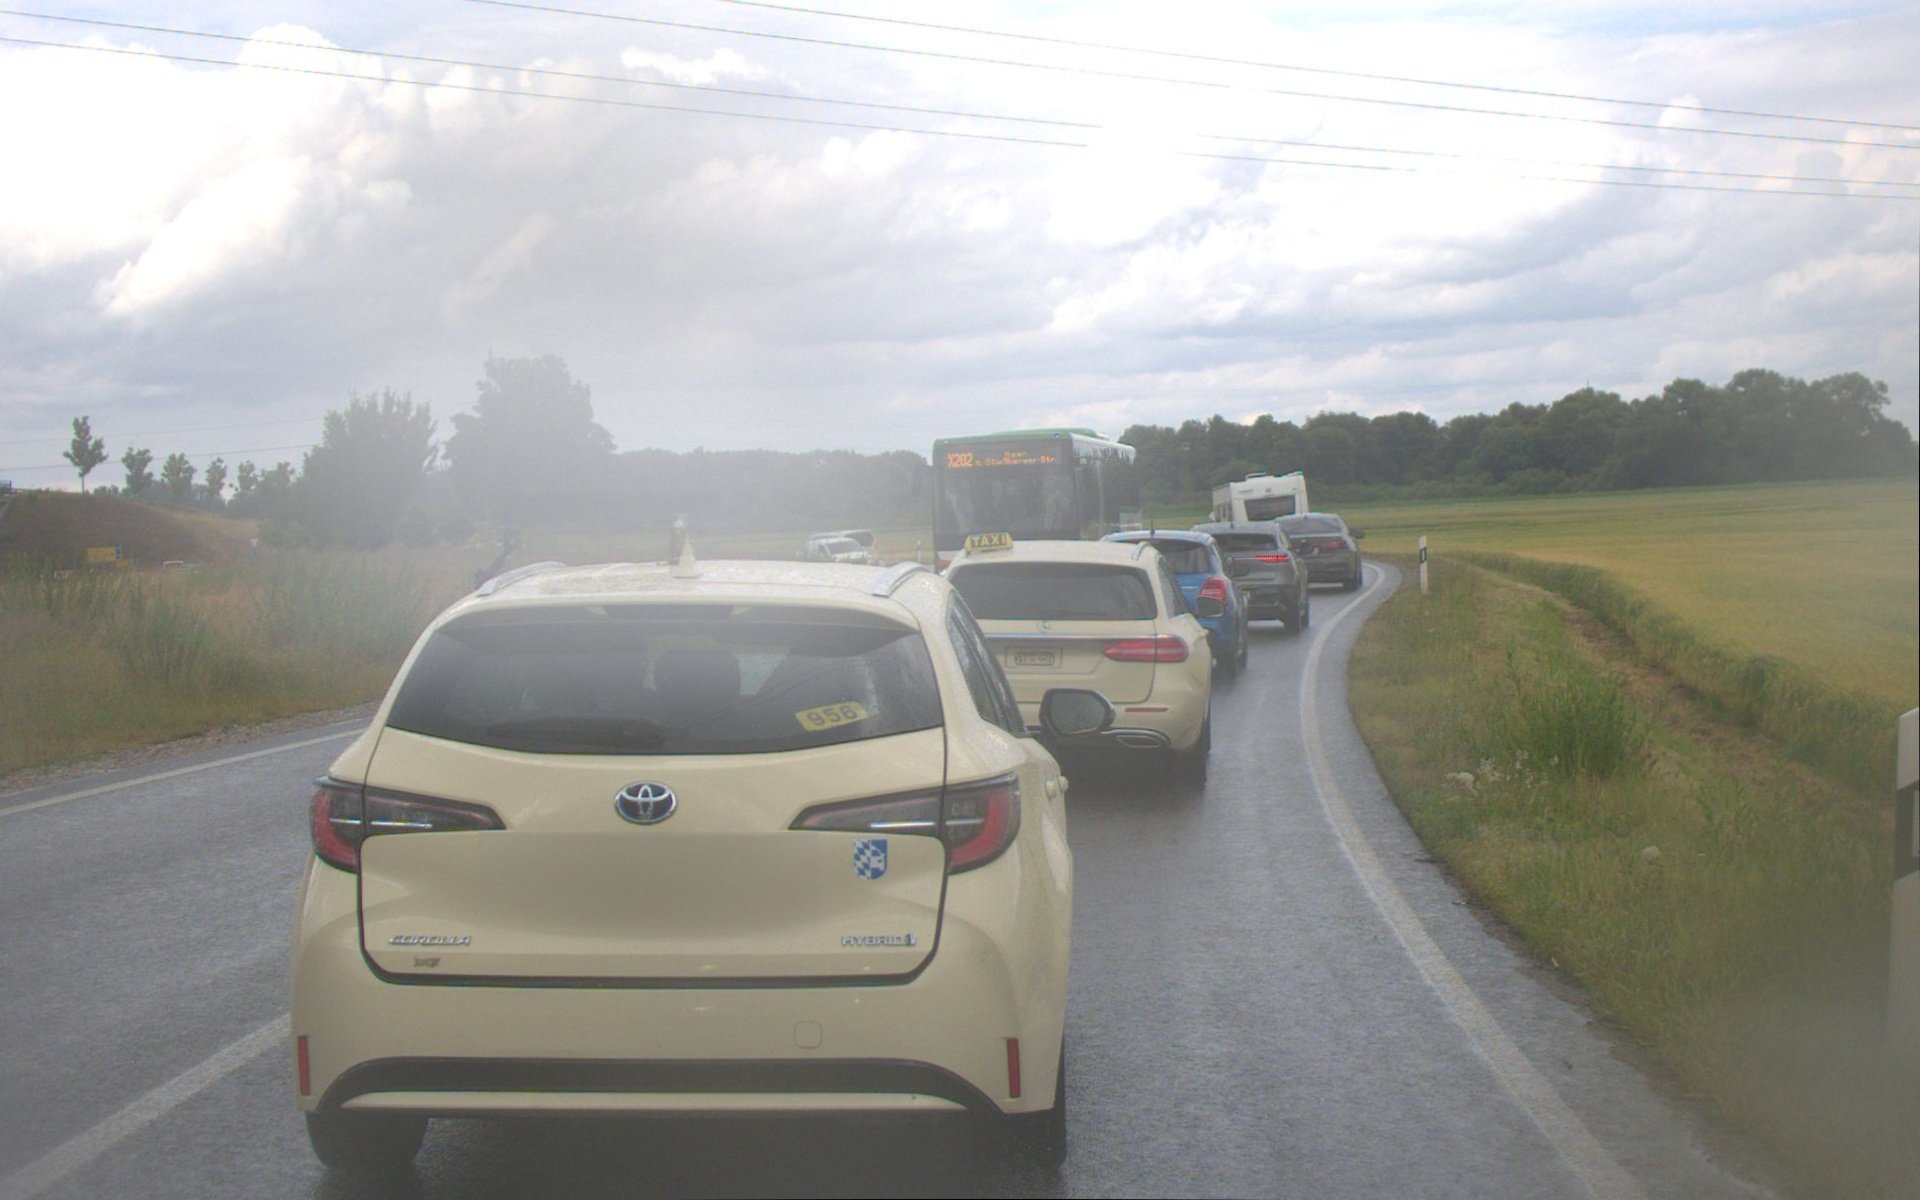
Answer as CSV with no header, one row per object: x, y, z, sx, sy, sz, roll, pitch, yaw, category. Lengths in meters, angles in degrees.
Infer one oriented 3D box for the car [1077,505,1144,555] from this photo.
3.986,-1.836,91.328,1.719,1.247,4.000,0,0,2,car

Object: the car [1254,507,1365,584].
6.811,-1.037,66.667,1.960,1.408,4.391,0,0,8,car

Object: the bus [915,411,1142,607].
1.477,-1.668,64.108,2.759,3.286,12.499,0,1,8,bus

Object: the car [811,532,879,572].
-5.328,-2.193,158.187,1.882,1.767,4.161,0,0,-21,car

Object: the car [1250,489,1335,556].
8.857,-2.050,91.775,1.960,1.723,3.738,0,0,1,car

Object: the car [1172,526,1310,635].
3.858,-0.256,46.750,1.613,1.408,3.737,0,0,9,car

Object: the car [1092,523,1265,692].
2.309,0.070,35.637,1.613,1.653,3.737,0,0,6,car

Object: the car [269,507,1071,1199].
-0.535,0.589,8.876,1.613,1.557,3.738,0,0,2,car

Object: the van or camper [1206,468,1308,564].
9.138,-2.585,106.444,2.536,2.886,6.743,0,1,0,van or camper

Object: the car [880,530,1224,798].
0.688,0.312,21.625,1.841,1.487,4.607,0,1,6,car
